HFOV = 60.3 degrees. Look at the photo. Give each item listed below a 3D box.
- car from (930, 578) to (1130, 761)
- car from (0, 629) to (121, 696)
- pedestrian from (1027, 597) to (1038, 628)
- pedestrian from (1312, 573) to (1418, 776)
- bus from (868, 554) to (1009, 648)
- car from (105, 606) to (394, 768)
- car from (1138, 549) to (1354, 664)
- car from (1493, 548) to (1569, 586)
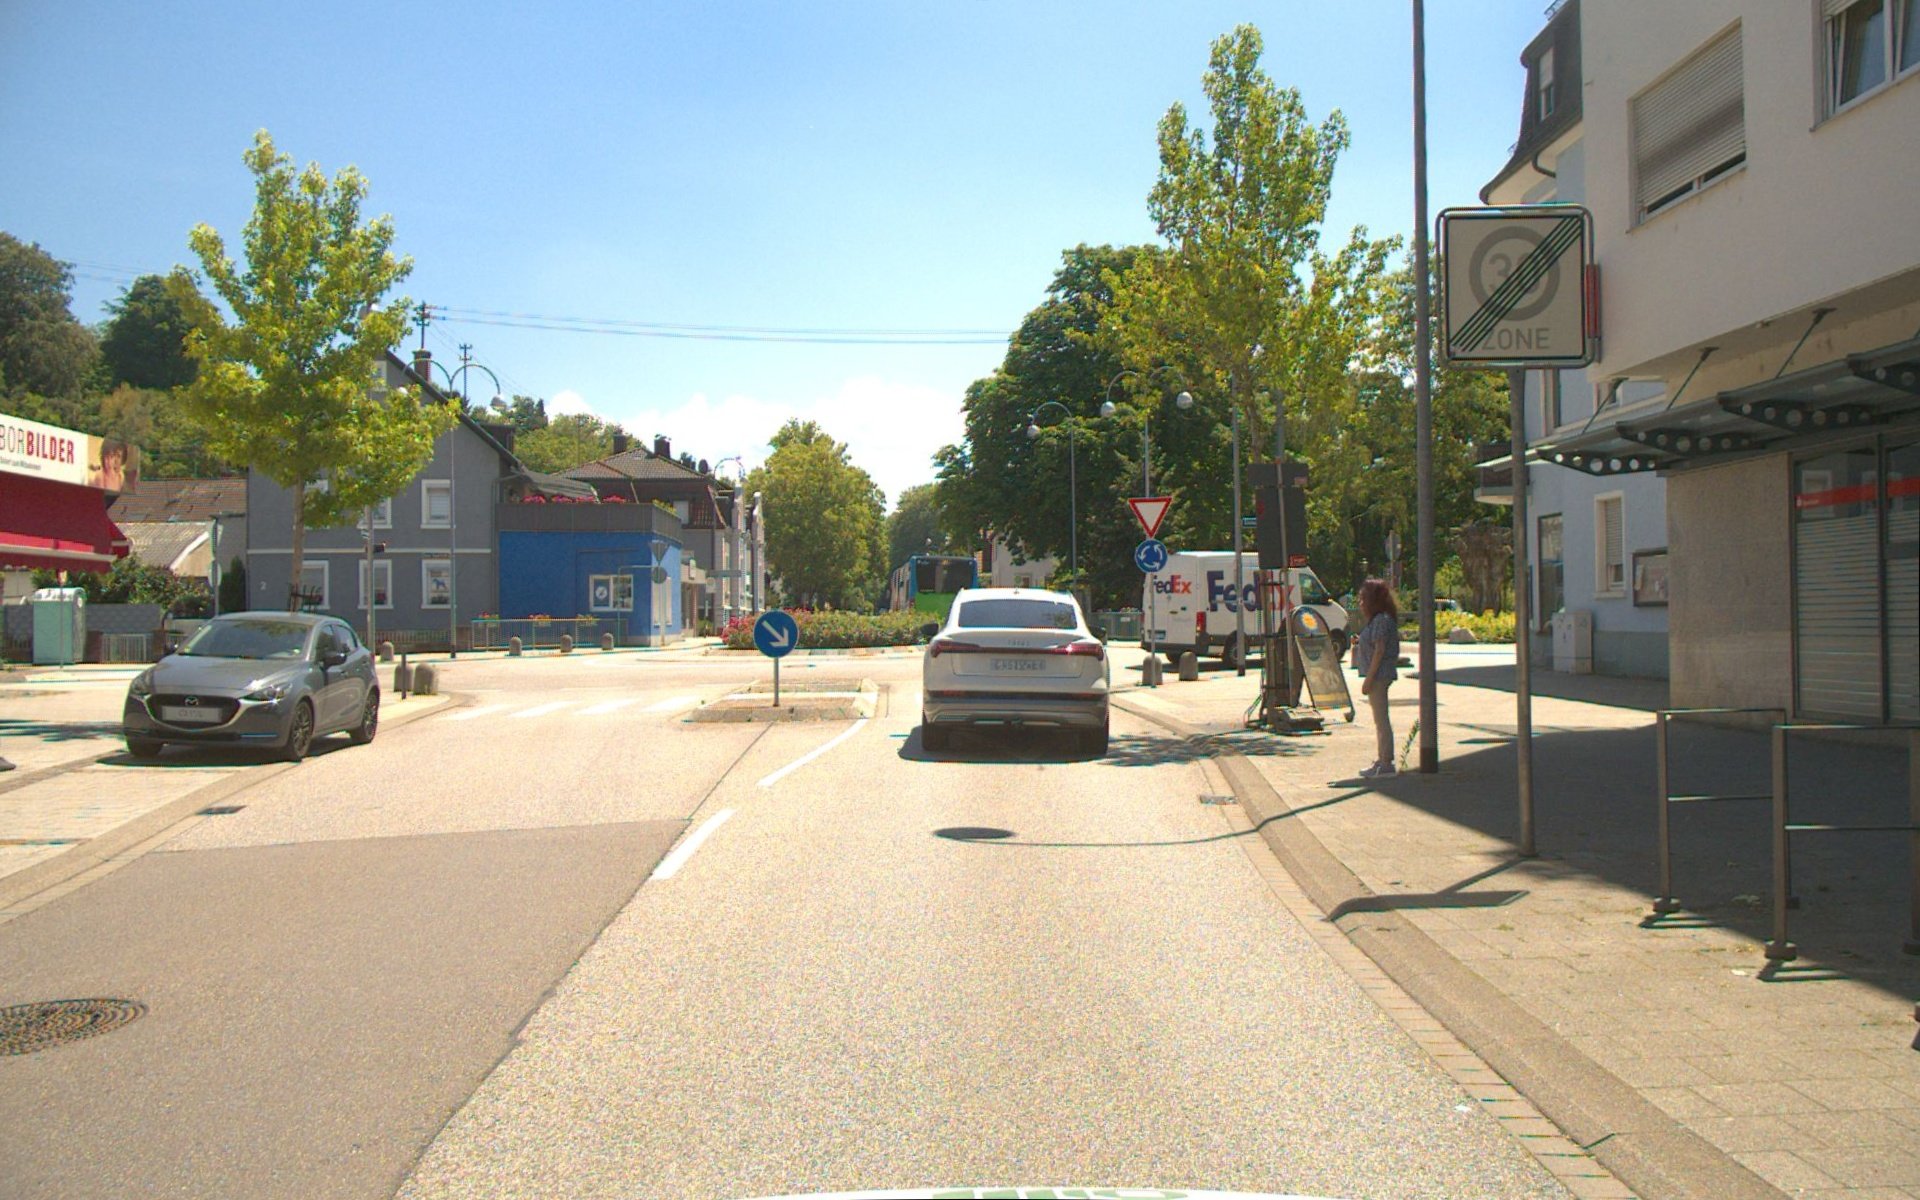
[{"bbox_3d":[0.625,0.656,17.753,1.860,1.691,4.408,1,0,-1],"label":"car"},{"bbox_3d":[-22.512,1.498,39.288,4.356,1.483,1.759,-1,0,-19],"label":"car"},{"bbox_3d":[3.953,0.662,90.681,0.493,1.679,0.578,-1,0,-7],"label":"pedestrian"},{"bbox_3d":[3.365,0.606,13.779,0.717,1.638,0.559,-1,0,0],"label":"pedestrian"},{"bbox_3d":[-1.236,0.137,67.477,3.636,3.227,18.037,1,-1,-7],"label":"bus"},{"bbox_3d":[-7.542,0.852,17.992,1.634,1.512,4.056,2,0,-5],"label":"car"},{"bbox_3d":[6.789,0.115,38.886,5.432,2.524,1.971,-1,0,-40],"label":"car"},{"bbox_3d":[32.776,-1.862,94.926,3.907,2.049,1.999,-1,0,25],"label":"car"}]
